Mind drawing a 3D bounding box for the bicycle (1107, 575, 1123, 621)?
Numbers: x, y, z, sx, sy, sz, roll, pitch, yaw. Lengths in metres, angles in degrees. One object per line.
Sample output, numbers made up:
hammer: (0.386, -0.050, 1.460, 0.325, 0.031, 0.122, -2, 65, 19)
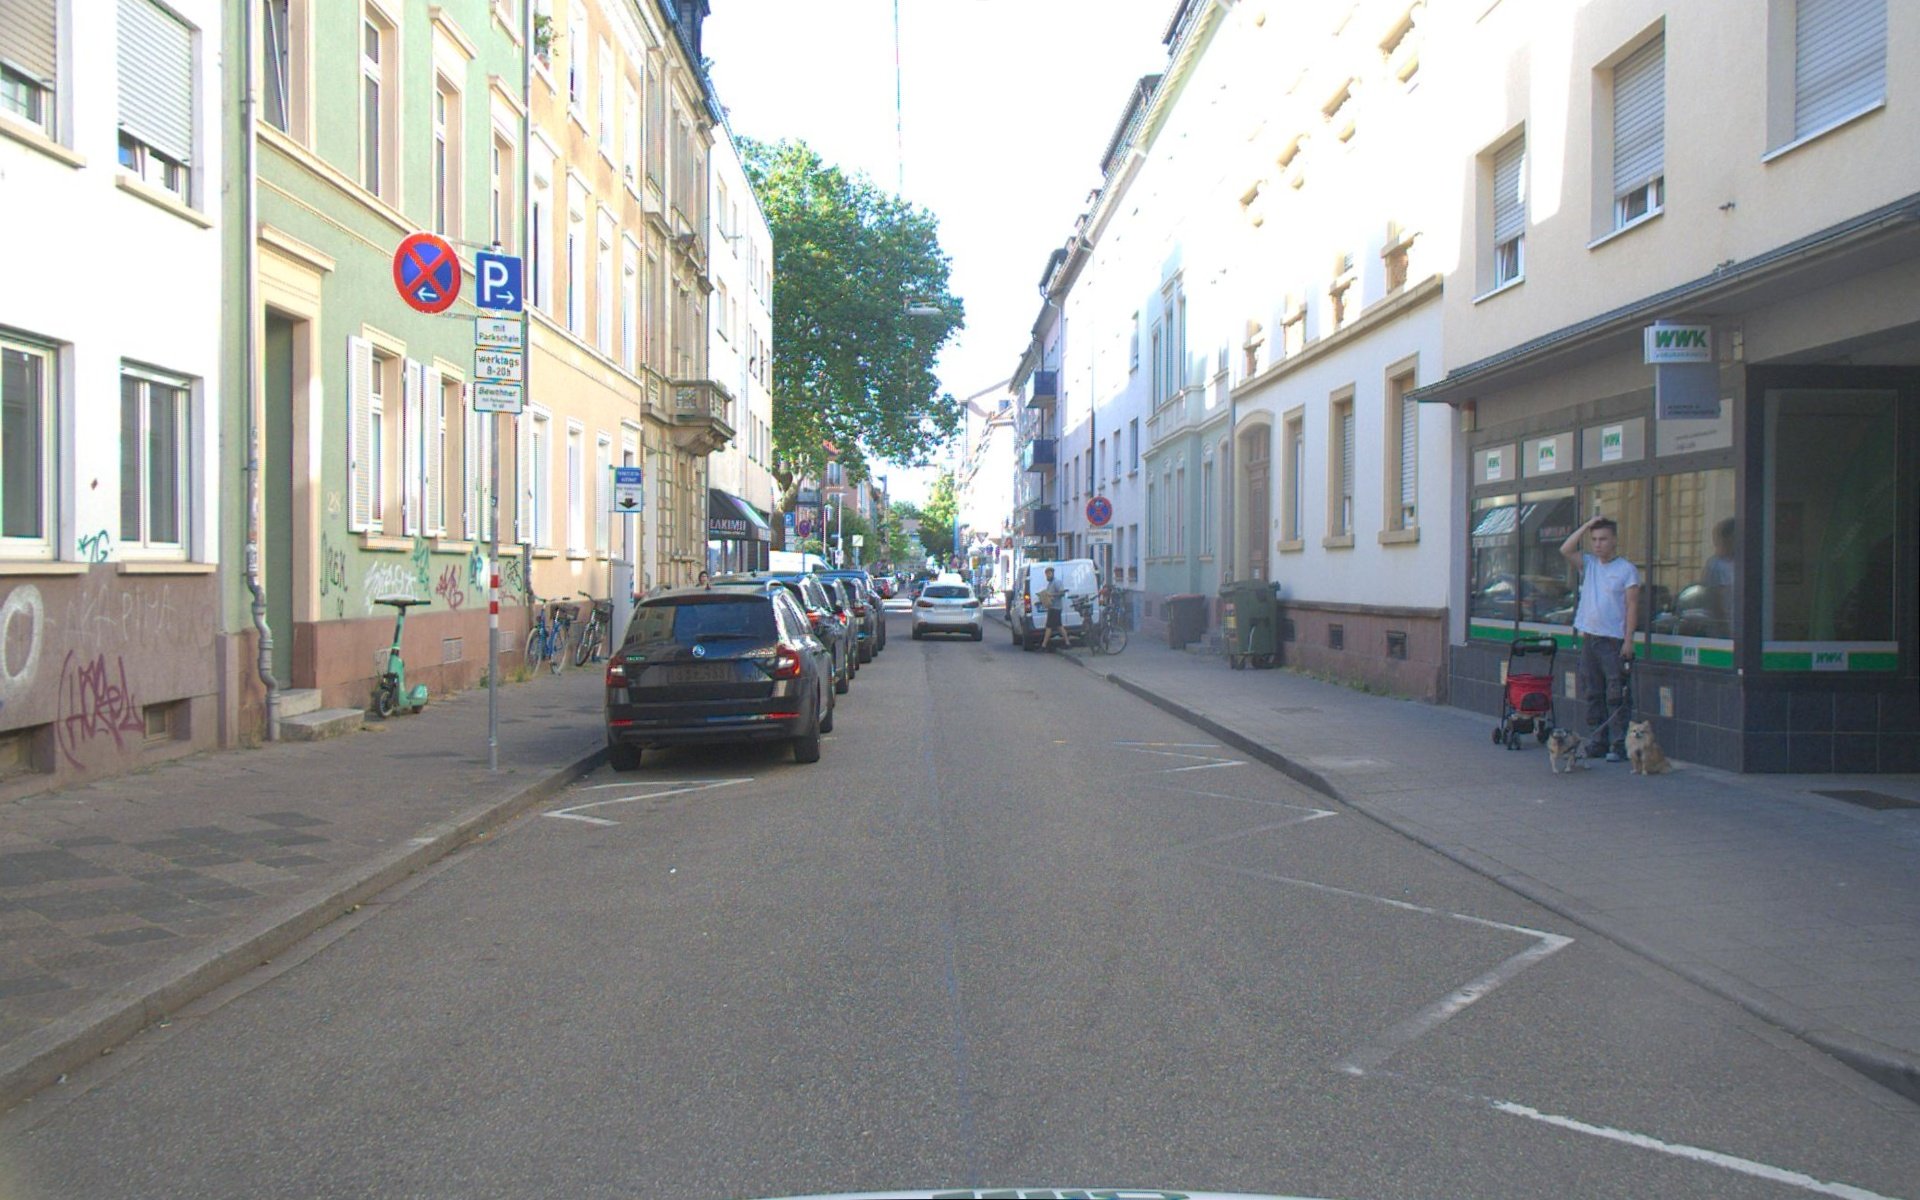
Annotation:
bicycle: (4.250, -0.059, 45.435, 0.428, 1.227, 2.267, 0, 0, 5)

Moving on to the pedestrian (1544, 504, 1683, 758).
pedestrian: (5.075, 0.219, 12.868, 0.639, 1.892, 0.743, -3, 1, -23)

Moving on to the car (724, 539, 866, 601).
car: (-8.010, -1.429, 80.758, 6.602, 2.599, 2.146, 3, 0, 0)

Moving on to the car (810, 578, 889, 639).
car: (-2.795, 0.184, 42.644, 1.808, 1.441, 4.816, -1, 0, -1)

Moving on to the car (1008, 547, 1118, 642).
car: (2.297, -0.183, 38.324, 1.943, 1.916, 5.598, -3, 1, -2)

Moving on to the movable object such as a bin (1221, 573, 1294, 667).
movable object such as a bin: (4.665, 0.317, 26.012, 0.820, 1.414, 1.296, -2, -1, -3)

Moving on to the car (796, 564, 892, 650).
car: (-2.504, 0.105, 36.853, 1.897, 1.766, 5.141, -1, 1, -2)

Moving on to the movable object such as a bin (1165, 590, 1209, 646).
movable object such as a bin: (4.564, 0.361, 33.279, 0.796, 1.107, 0.674, 0, 0, 0)

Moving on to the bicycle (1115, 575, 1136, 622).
bicycle: (4.402, -0.051, 44.104, 0.397, 1.227, 2.160, 0, 0, 2)

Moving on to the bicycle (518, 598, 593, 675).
bicycle: (-5.724, 0.495, 23.476, 0.353, 1.046, 1.919, 0, 0, 8)

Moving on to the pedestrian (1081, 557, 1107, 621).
pedestrian: (3.696, -0.291, 45.472, 0.641, 1.741, 0.687, 0, 0, 10)

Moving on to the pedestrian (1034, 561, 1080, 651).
pedestrian: (2.032, 0.119, 34.714, 0.849, 1.868, 0.883, 0, 0, -4)

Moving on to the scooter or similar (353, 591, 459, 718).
scooter or similar: (-5.496, 0.511, 16.488, 0.444, 1.202, 1.691, 0, 0, 1)

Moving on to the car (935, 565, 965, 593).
car: (-0.732, -1.565, 120.963, 1.904, 1.982, 4.075, 1, 1, -4)

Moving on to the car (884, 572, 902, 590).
car: (-6.060, -1.669, 149.812, 1.540, 1.613, 3.610, 0, 0, -1)

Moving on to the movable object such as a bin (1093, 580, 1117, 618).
movable object such as a bin: (4.238, -0.041, 48.402, 0.603, 1.081, 0.603, -1, 1, -2)

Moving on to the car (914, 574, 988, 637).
car: (-0.267, 0.112, 42.765, 1.787, 1.540, 3.822, 0, 1, -2)

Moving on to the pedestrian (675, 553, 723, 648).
pedestrian: (-4.907, 0.003, 31.091, 0.749, 1.744, 0.883, 1, 1, -2)

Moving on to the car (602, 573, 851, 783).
car: (-1.921, 0.549, 14.928, 1.679, 1.514, 4.850, -2, 1, -2)

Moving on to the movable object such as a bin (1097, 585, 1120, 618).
movable object such as a bin: (4.277, 0.039, 47.795, 0.565, 0.940, 0.607, -2, 1, -2)

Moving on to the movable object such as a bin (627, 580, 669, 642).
movable object such as a bin: (-5.801, 0.201, 30.774, 0.705, 1.152, 0.584, 0, 0, -5)

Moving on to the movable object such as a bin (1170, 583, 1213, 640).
movable object such as a bin: (4.558, 0.230, 32.608, 0.780, 1.115, 0.642, 0, 0, 0)

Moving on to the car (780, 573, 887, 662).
car: (-2.325, 0.275, 31.340, 1.678, 1.558, 4.367, -1, 1, 0)

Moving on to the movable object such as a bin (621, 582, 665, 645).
movable object such as a bin: (-5.768, 0.237, 30.154, 0.721, 1.108, 0.682, 0, 2, -5)

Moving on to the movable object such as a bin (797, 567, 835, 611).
movable object such as a bin: (-5.064, -0.376, 58.200, 1.270, 1.524, 1.178, 1, 0, -2)

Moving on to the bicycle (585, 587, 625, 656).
bicycle: (-5.751, 0.335, 26.825, 0.394, 1.074, 1.835, 0, 0, -4)

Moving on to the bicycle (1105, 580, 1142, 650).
bicycle: (3.216, 0.272, 32.715, 0.563, 1.293, 2.200, -2, 1, 2)

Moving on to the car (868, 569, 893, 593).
car: (-5.618, -1.372, 117.600, 1.734, 1.616, 3.725, 0, 2, -2)

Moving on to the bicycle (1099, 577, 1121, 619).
bicycle: (4.210, -0.056, 46.524, 0.557, 1.173, 1.869, 0, 0, 3)

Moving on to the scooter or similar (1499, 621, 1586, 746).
scooter or similar: (4.861, 0.683, 13.832, 0.480, 0.961, 0.869, -1, 2, 5)

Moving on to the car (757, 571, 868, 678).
car: (-2.305, 0.327, 26.573, 1.583, 1.581, 3.976, 0, 1, -2)

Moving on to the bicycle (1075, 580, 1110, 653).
bicycle: (2.582, 0.299, 32.374, 0.563, 1.343, 2.200, -1, 1, 2)

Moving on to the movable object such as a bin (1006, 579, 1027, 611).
movable object such as a bin: (1.978, -0.179, 58.268, 0.717, 1.099, 0.703, 0, 0, -1)

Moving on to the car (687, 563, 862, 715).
car: (-2.206, 0.385, 20.780, 1.708, 1.643, 4.603, -1, 1, -1)
